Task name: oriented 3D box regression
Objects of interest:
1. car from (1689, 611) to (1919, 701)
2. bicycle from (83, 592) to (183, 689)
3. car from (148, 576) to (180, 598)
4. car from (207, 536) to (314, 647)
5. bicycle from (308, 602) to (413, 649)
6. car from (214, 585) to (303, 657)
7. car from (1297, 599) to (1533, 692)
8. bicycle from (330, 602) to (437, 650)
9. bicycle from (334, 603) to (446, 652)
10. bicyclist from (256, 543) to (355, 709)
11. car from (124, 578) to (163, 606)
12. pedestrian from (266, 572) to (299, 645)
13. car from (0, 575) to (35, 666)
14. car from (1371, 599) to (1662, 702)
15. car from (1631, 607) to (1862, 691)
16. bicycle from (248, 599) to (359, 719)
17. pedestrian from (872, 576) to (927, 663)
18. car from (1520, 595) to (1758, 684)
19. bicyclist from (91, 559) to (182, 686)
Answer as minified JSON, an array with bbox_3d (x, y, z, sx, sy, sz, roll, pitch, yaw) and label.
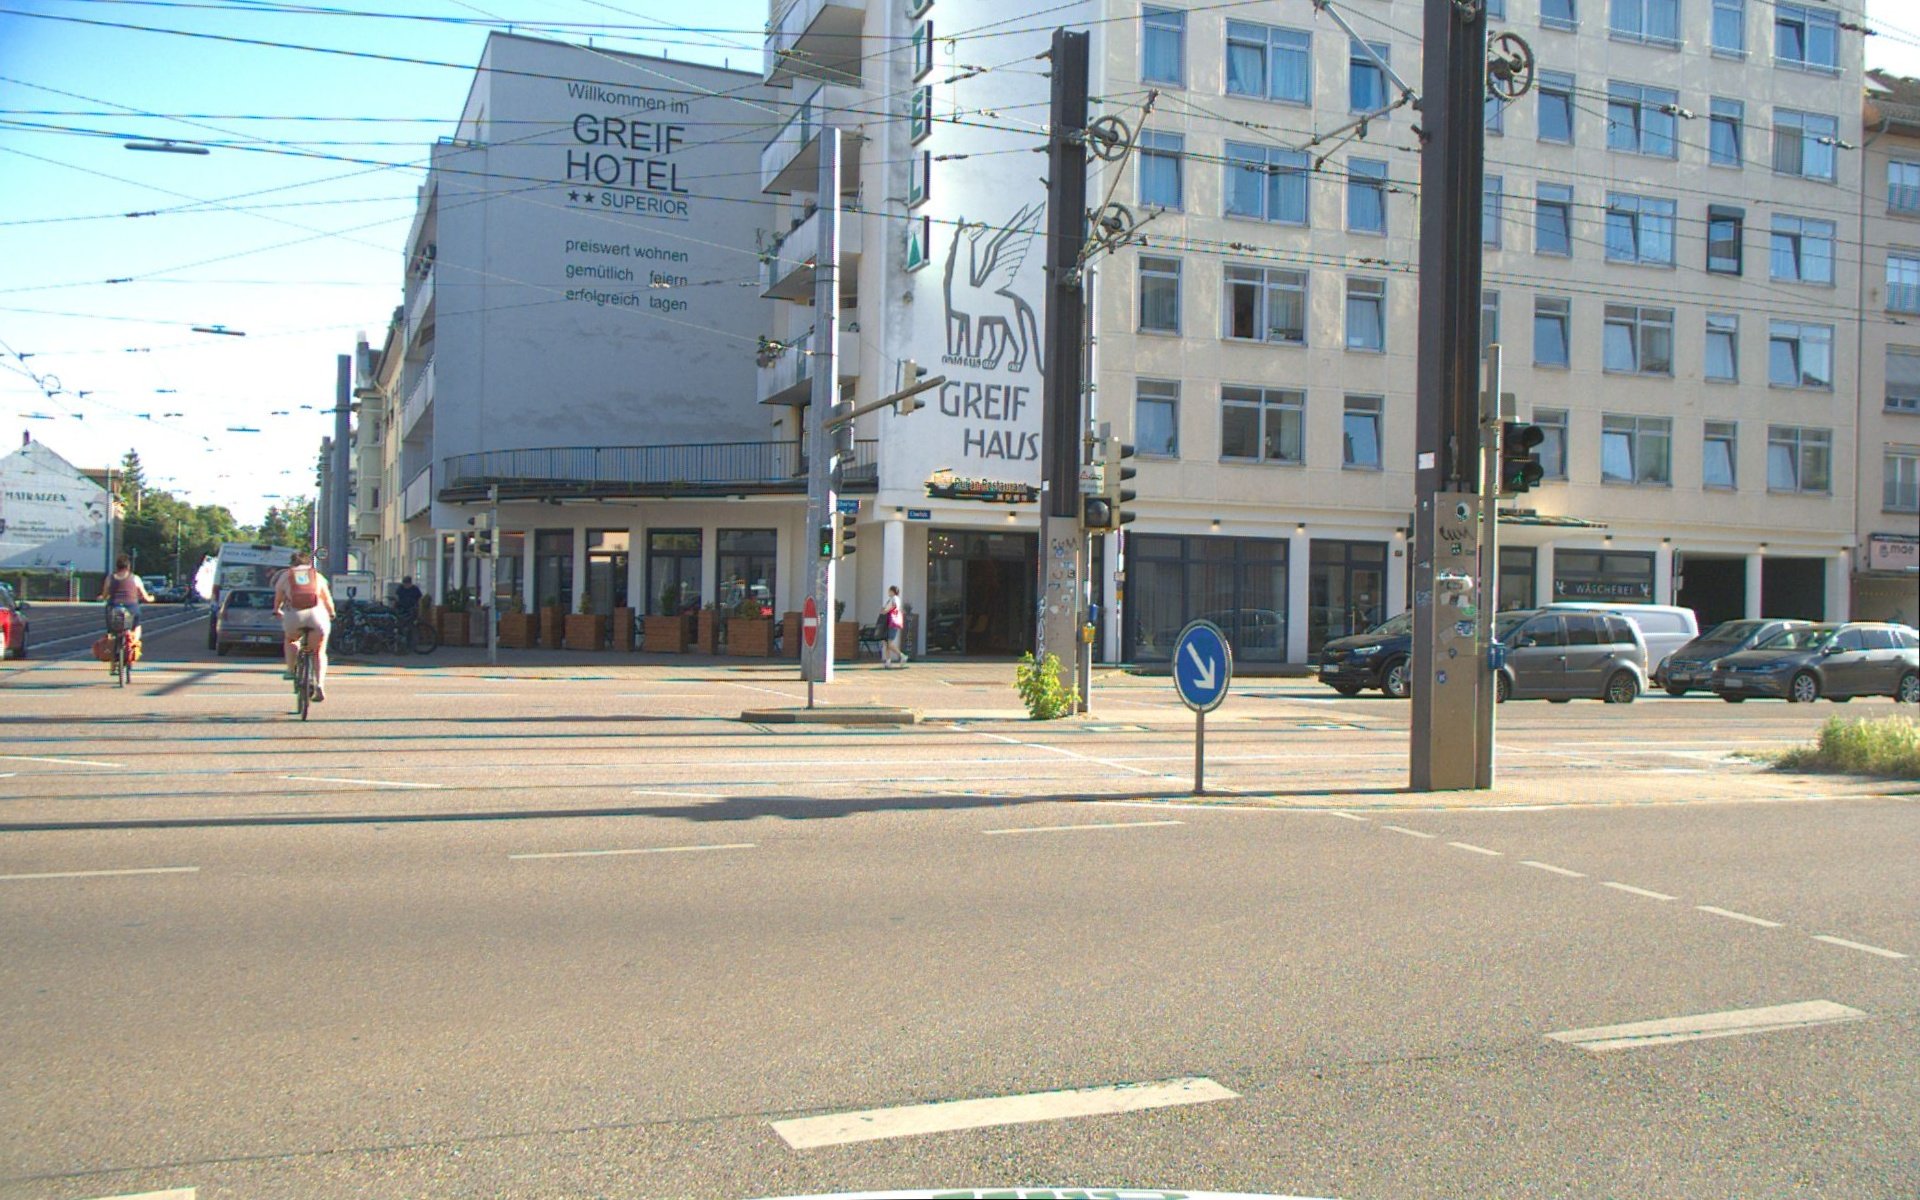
[{"bbox_3d":[15.798,1.022,30.274,4.457,1.517,1.814,2,-1,-19],"label":"car"},{"bbox_3d":[-11.455,0.546,22.989,0.926,1.245,2.082,3,-1,-20],"label":"bicycle"},{"bbox_3d":[-69.944,-1.151,145.380,2.045,1.793,5.003,3,-1,-22],"label":"car"},{"bbox_3d":[-17.436,-0.191,41.262,2.235,2.525,4.972,2,-1,-23],"label":"car"},{"bbox_3d":[-13.691,0.571,37.784,2.221,1.019,0.850,0,0,-24],"label":"bicycle"},{"bbox_3d":[-15.585,0.446,36.651,1.636,1.456,3.858,3,-1,-25],"label":"car"},{"bbox_3d":[8.481,0.855,30.869,3.975,1.603,1.783,2,-1,-22],"label":"car"},{"bbox_3d":[-12.868,0.569,36.931,2.221,1.019,0.850,0,0,-24],"label":"bicycle"},{"bbox_3d":[-12.298,0.589,35.678,2.221,1.019,0.850,0,0,-24],"label":"bicycle"},{"bbox_3d":[-7.084,0.282,17.950,0.797,1.721,0.931,3,-1,-14],"label":"bicyclist"},{"bbox_3d":[-63.033,-0.609,127.712,2.187,1.965,4.917,3,-1,-22],"label":"car"},{"bbox_3d":[-15.909,0.203,38.829,0.605,1.683,0.666,3,-2,-24],"label":"pedestrian"},{"bbox_3d":[-18.167,0.300,30.210,1.761,1.548,3.735,3,0,-23],"label":"car"},{"bbox_3d":[9.332,0.840,27.774,4.370,1.575,1.926,2,-1,-19],"label":"car"},{"bbox_3d":[16.344,1.017,34.389,4.248,1.603,1.976,2,-1,-22],"label":"car"},{"bbox_3d":[-7.134,0.621,18.061,0.797,1.202,2.056,3,-1,-14],"label":"bicycle"},{"bbox_3d":[-1.278,0.409,34.833,0.894,1.777,0.732,3,-2,-22],"label":"pedestrian"},{"bbox_3d":[16.069,0.933,39.142,5.231,1.901,1.938,1,2,-21],"label":"car"},{"bbox_3d":[-11.523,0.320,23.190,0.927,1.702,1.073,3,-1,-20],"label":"bicyclist"}]
